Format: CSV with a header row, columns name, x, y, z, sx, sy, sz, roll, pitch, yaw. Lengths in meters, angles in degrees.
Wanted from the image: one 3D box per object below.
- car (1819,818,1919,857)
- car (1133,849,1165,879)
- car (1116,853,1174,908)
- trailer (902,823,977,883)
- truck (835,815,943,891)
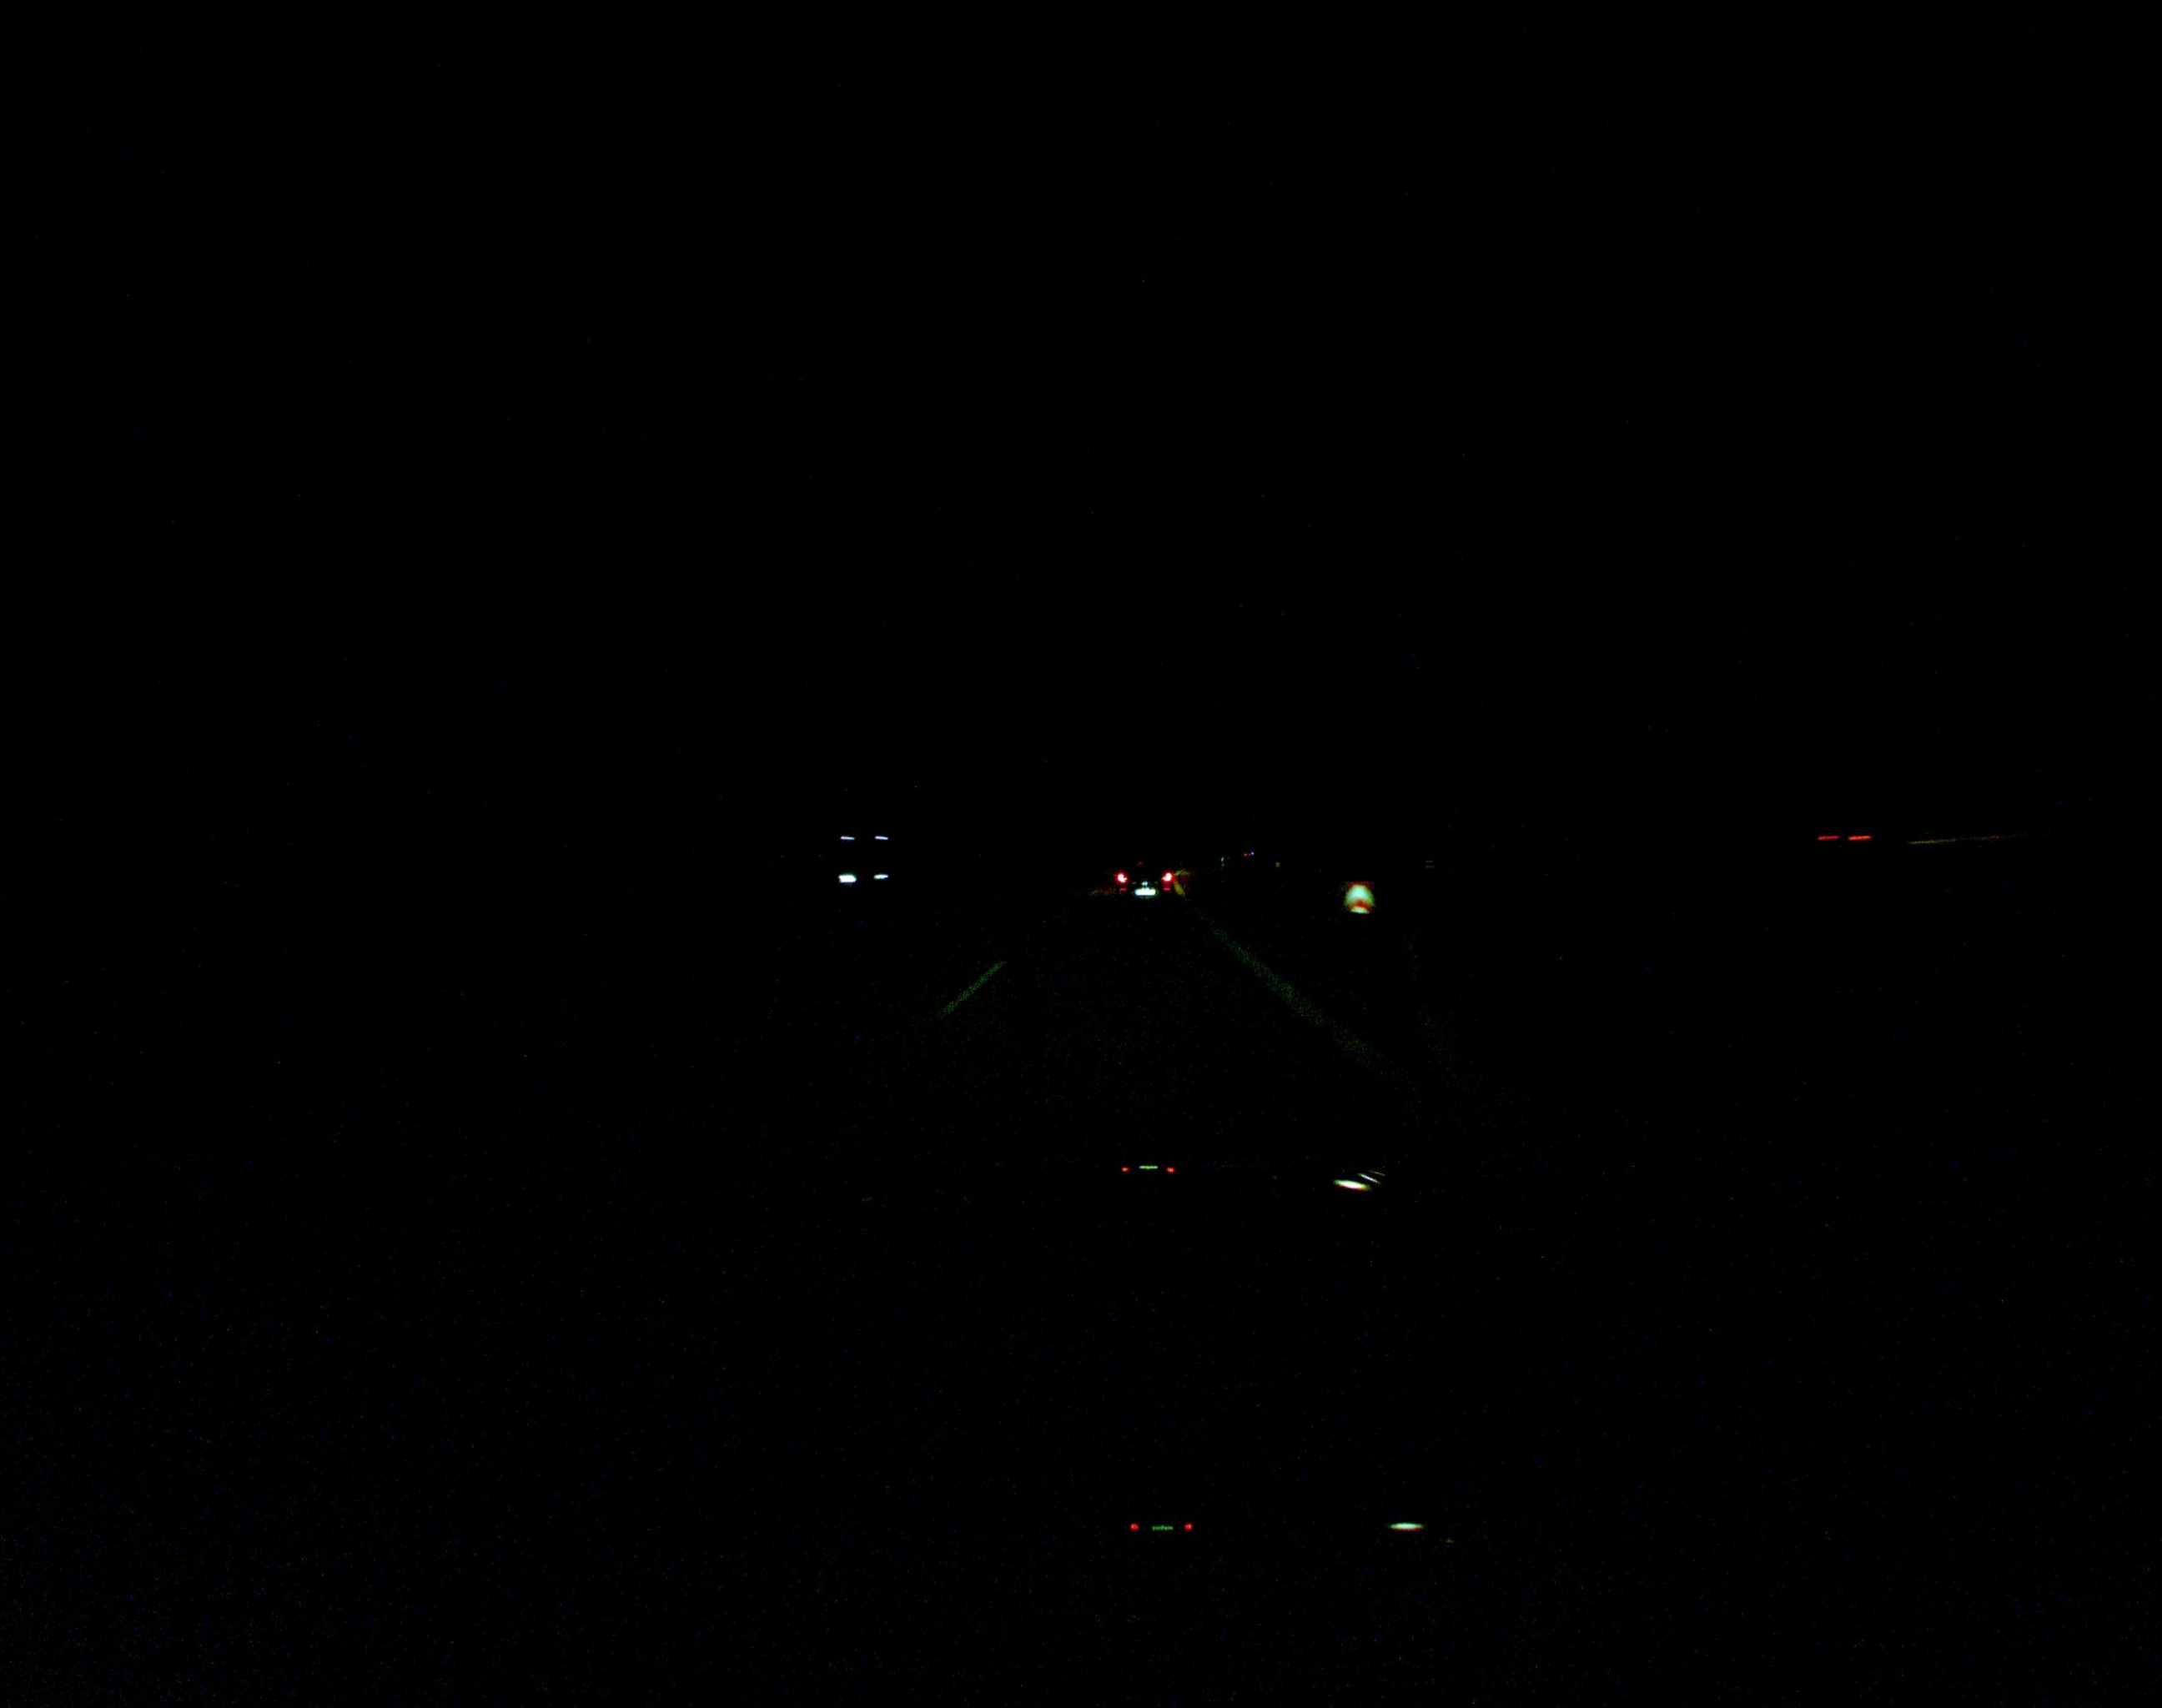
name,x,y,z,sx,sy,sz,roll,pitch,yaw
car,40.496,-0.839,41.868,4.263,1.816,1.926,-2,0,-19
car,4.293,0.591,51.262,1.897,1.698,4.006,-2,0,5
car,1.862,0.723,24.452,1.582,1.508,4.002,-1,0,2
trailer,-10.155,-0.088,59.631,2.703,3.956,9.066,-3,0,7
truck,-11.425,-0.055,49.897,2.666,4.044,10.676,-3,0,7
